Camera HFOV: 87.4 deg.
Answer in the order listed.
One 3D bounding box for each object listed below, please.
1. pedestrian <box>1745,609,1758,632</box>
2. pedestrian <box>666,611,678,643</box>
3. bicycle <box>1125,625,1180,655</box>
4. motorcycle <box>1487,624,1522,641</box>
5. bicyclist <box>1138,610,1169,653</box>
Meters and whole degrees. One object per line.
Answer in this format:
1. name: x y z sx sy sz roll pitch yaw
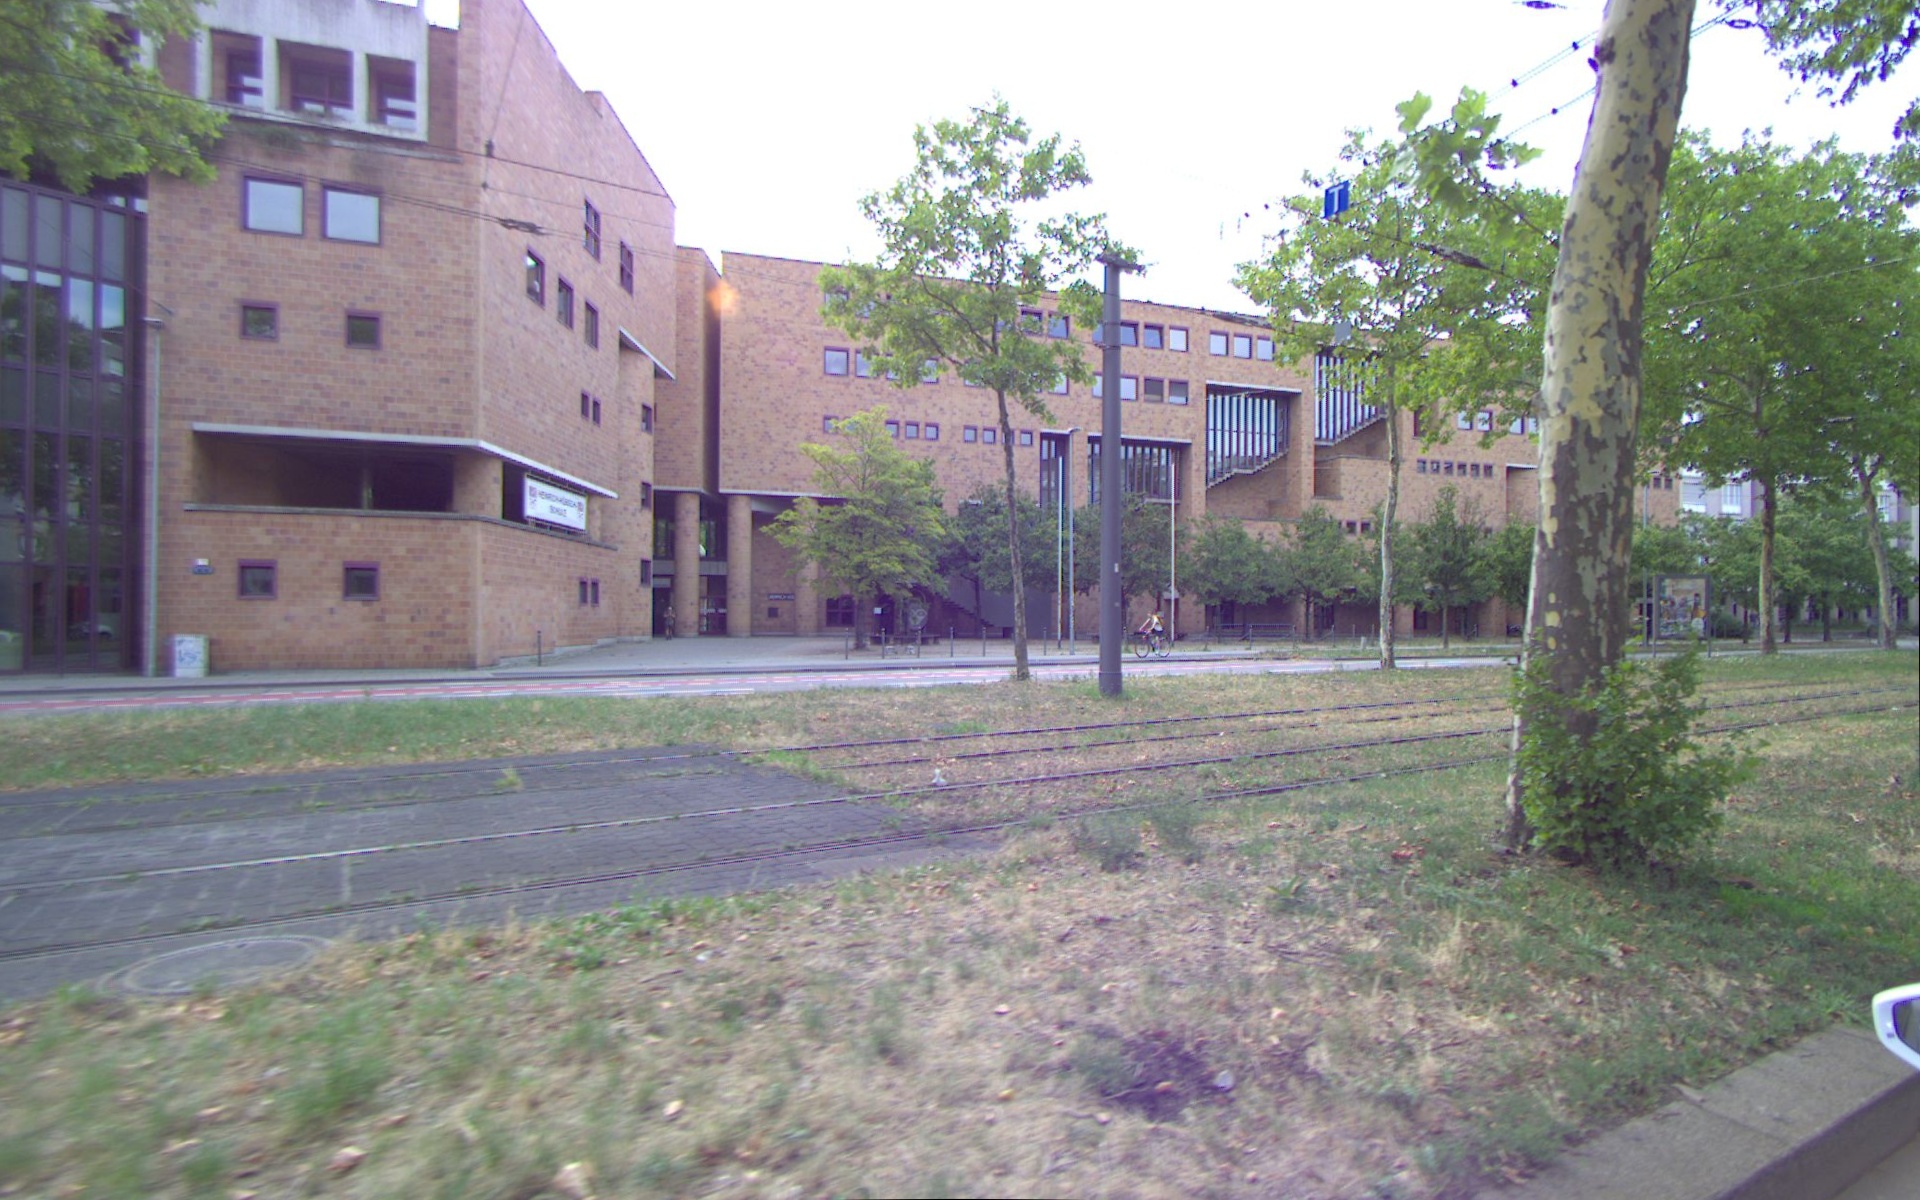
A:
1. pedestrian: 59.779 1.556 75.865 0.618 1.728 0.551 0 0 -25
2. pedestrian: -13.943 1.313 48.605 0.511 1.552 0.507 0 0 -15
3. bicycle: 7.312 1.519 38.126 2.066 1.099 0.665 0 -1 -27
4. motorcycle: 39.596 2.381 73.007 2.162 1.207 0.794 0 -1 38
5. bicyclist: 7.358 1.175 38.152 0.971 1.612 0.661 0 0 -27
